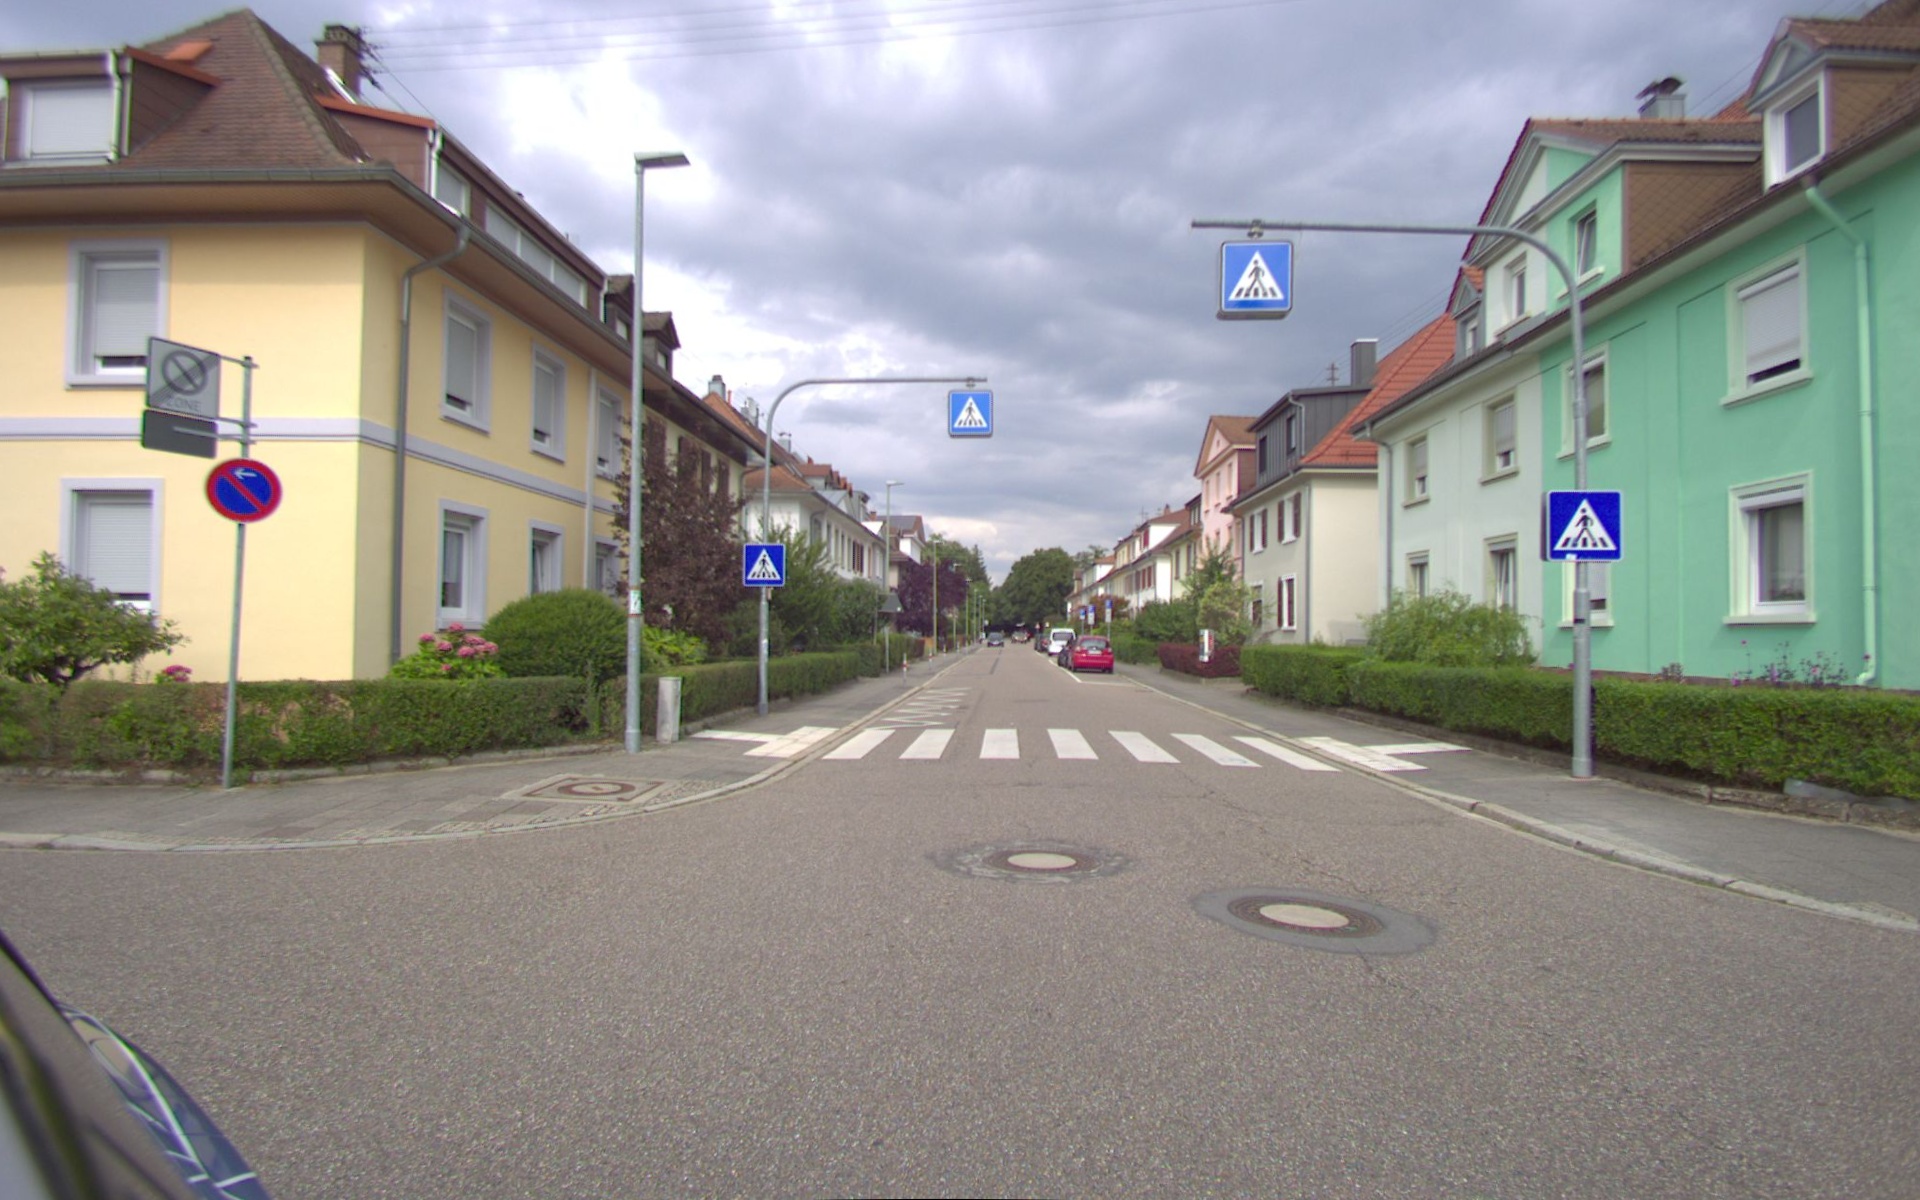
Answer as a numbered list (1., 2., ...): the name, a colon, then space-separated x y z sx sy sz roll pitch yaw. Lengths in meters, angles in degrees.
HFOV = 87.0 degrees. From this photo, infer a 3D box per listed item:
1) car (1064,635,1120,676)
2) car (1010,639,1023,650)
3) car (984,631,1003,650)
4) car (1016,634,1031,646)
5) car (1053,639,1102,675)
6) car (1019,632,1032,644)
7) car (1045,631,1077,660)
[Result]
1. car: 5.430 2.275 42.143 1.973 1.586 3.996 0 -2 3
2. car: 8.250 6.496 147.578 1.812 1.497 3.997 2 -2 2
3. car: 3.645 4.406 110.394 1.974 2.029 3.996 1 -2 3
4. car: 10.065 6.352 160.797 1.709 1.719 4.003 2 -2 -3
5. car: 5.439 2.627 47.365 1.973 1.586 3.996 0 -2 3
6. car: 10.977 6.366 170.247 1.974 2.029 3.996 2 -2 3
7. car: 6.999 3.147 70.243 1.973 1.918 3.996 0 -2 3
